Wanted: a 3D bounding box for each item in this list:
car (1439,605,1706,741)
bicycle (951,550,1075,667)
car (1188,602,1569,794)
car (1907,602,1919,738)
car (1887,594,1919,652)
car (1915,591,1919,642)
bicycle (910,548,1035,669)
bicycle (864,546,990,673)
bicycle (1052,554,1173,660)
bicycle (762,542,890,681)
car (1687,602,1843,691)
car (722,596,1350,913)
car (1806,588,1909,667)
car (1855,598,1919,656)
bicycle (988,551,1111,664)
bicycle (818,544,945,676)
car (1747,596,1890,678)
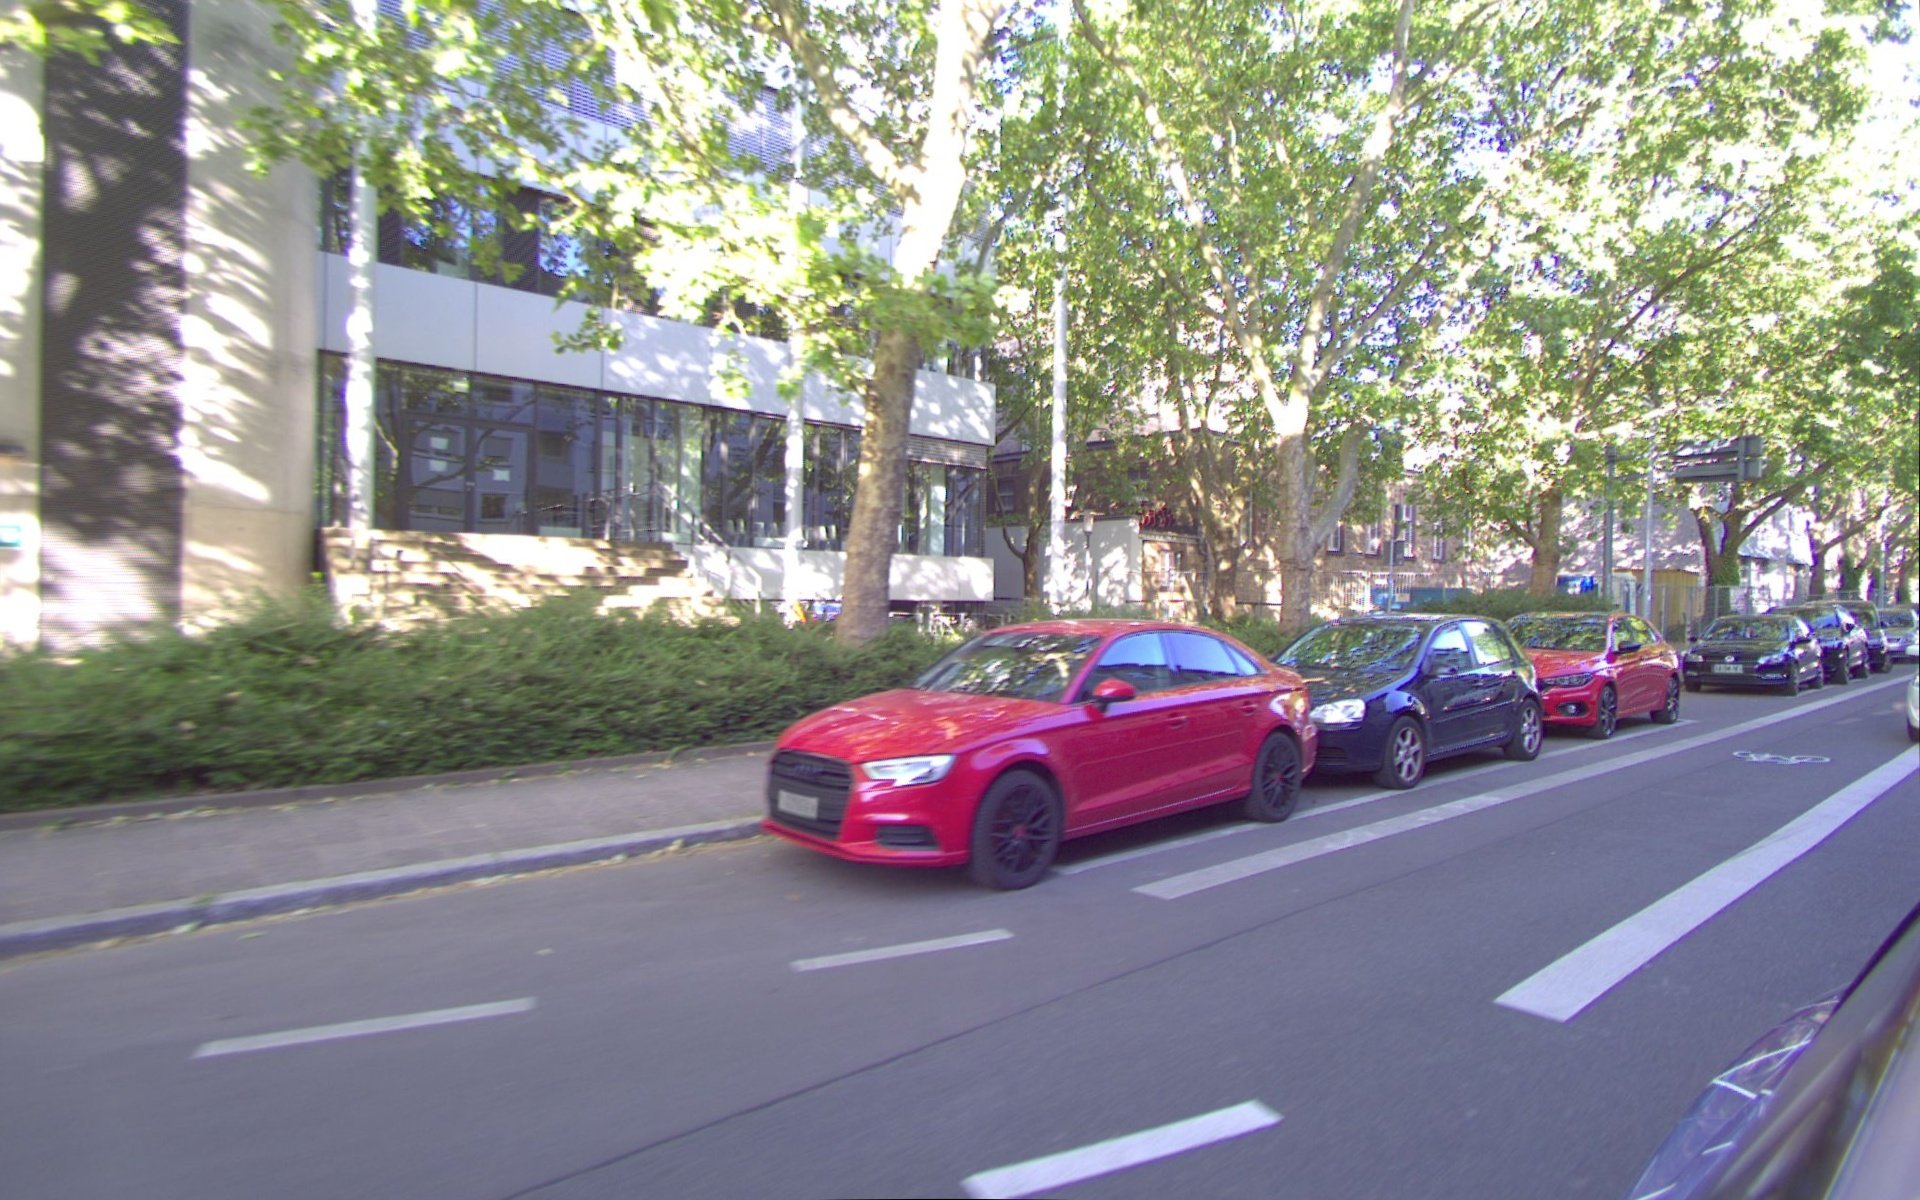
[{"bbox_3d":[8.090,0.829,13.220,4.242,1.498,1.696,0,-2,-40],"label":"car"},{"bbox_3d":[0.943,0.118,18.901,0.729,2.039,2.603,1,0,-39],"label":"bicycle"},{"bbox_3d":[4.146,0.778,9.761,3.992,1.485,1.696,0,-2,-39],"label":"car"},{"bbox_3d":[12.577,0.765,11.765,3.617,1.517,1.683,0,-1,-37],"label":"car"},{"bbox_3d":[31.965,0.726,33.187,4.055,1.836,1.696,0,-2,-39],"label":"car"},{"bbox_3d":[40.200,0.630,40.784,5.083,2.020,2.080,0,-1,-42],"label":"car"},{"bbox_3d":[0.184,0.124,18.251,0.729,2.039,2.603,1,0,-39],"label":"bicycle"},{"bbox_3d":[-0.626,0.129,17.556,0.729,2.039,2.603,1,0,-39],"label":"bicycle"},{"bbox_3d":[3.073,0.103,20.699,0.729,2.039,2.603,1,0,-39],"label":"bicycle"},{"bbox_3d":[-2.178,0.140,16.101,0.729,2.039,2.603,1,0,-39],"label":"bicycle"},{"bbox_3d":[15.341,0.812,19.213,3.951,1.523,1.694,0,-2,-42],"label":"car"},{"bbox_3d":[0.767,0.742,6.815,4.360,1.468,1.694,0,-2,-43],"label":"car"},{"bbox_3d":[23.244,0.685,26.266,1.823,1.865,4.825,-2,-2,41],"label":"car"},{"bbox_3d":[28.409,0.790,30.492,4.256,1.649,1.694,0,-2,-43],"label":"car"},{"bbox_3d":[1.681,0.113,19.562,0.729,2.039,2.603,1,0,-39],"label":"bicycle"},{"bbox_3d":[-1.352,0.134,16.902,0.729,2.039,2.603,1,0,-39],"label":"bicycle"},{"bbox_3d":[19.070,0.768,22.420,4.540,1.649,1.778,0,-2,-42],"label":"car"}]
